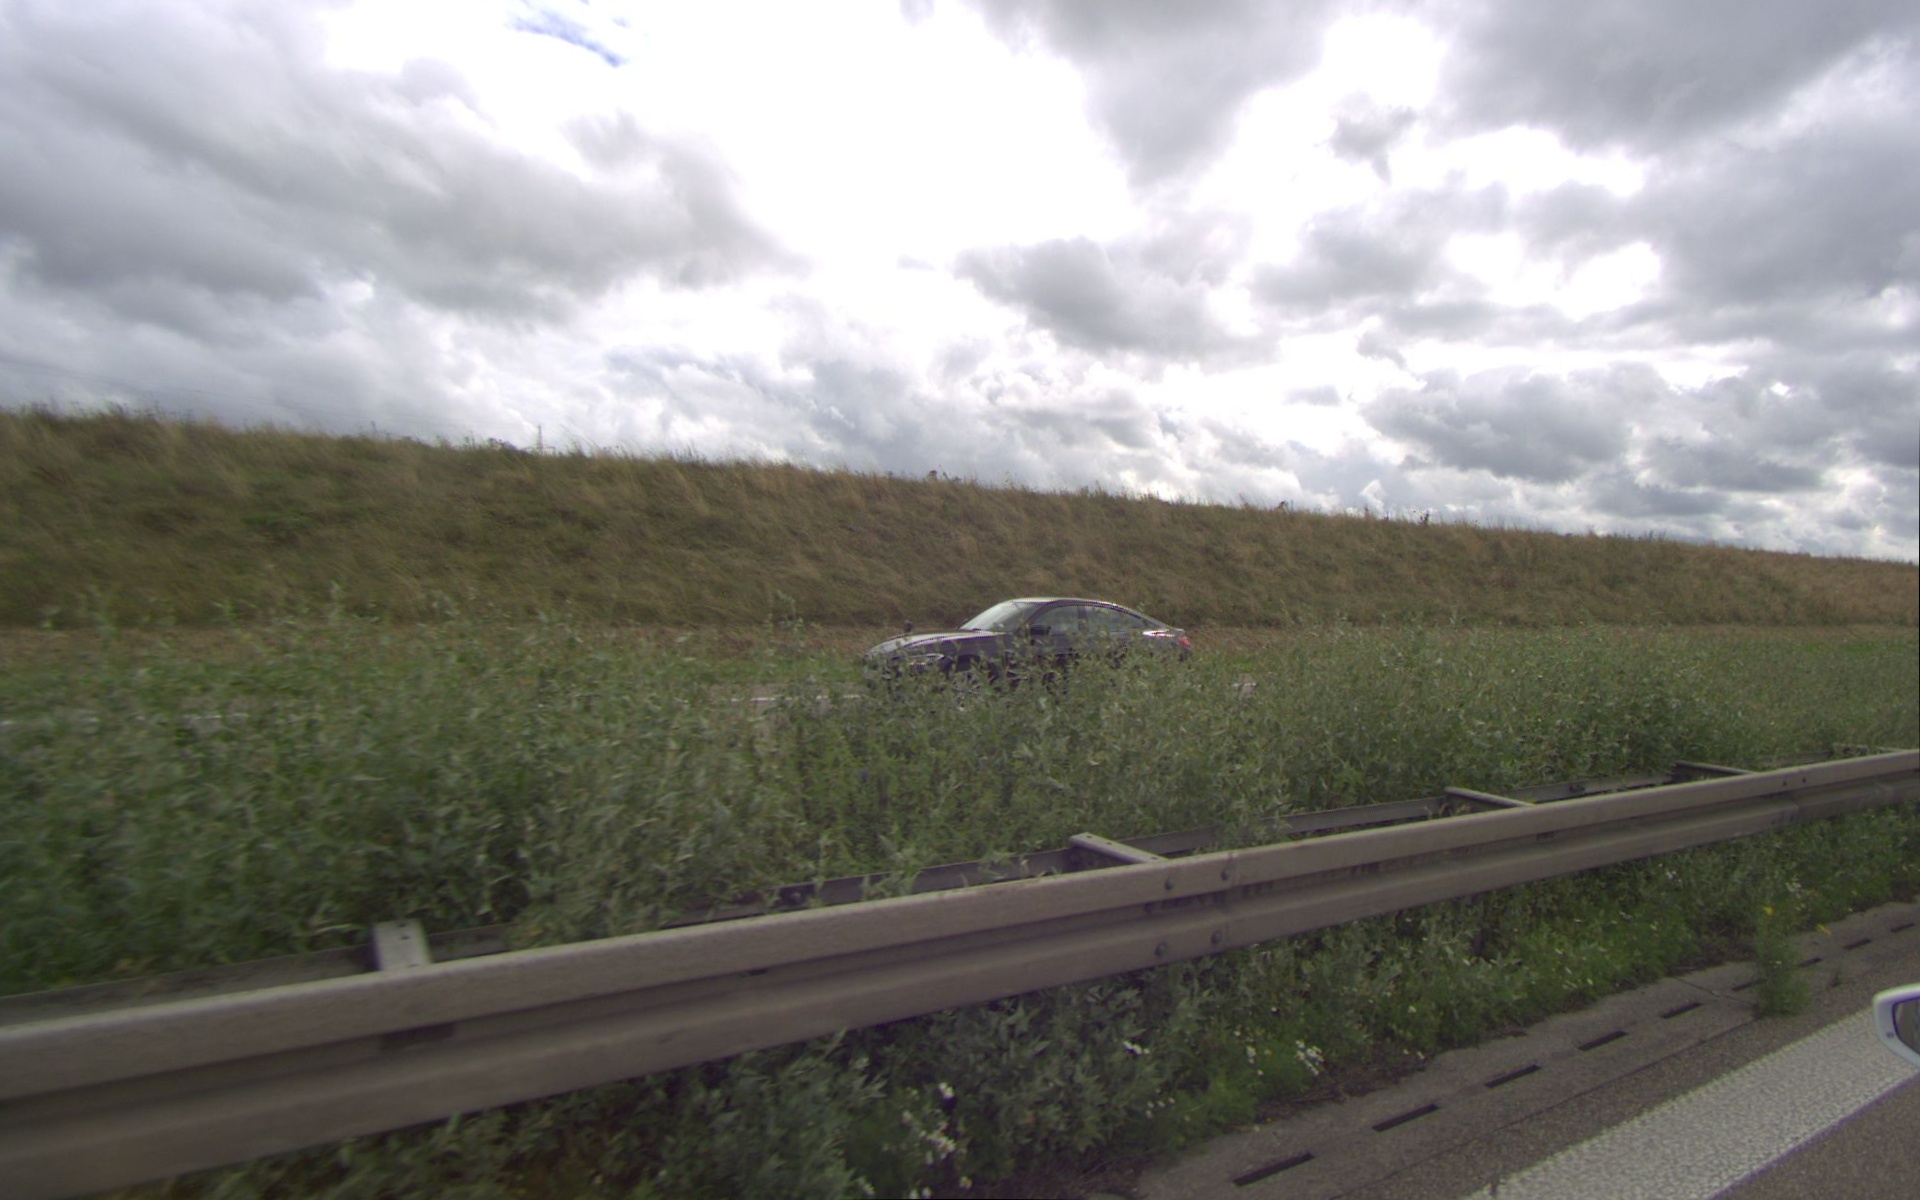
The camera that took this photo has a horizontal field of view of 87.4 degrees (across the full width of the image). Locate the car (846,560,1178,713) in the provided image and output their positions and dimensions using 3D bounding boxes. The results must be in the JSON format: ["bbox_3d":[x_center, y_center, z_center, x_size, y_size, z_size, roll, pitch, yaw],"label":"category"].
[{"bbox_3d":[0.715,0.444,13.075,3.953,1.725,1.808,2,0,-30],"label":"car"}]
